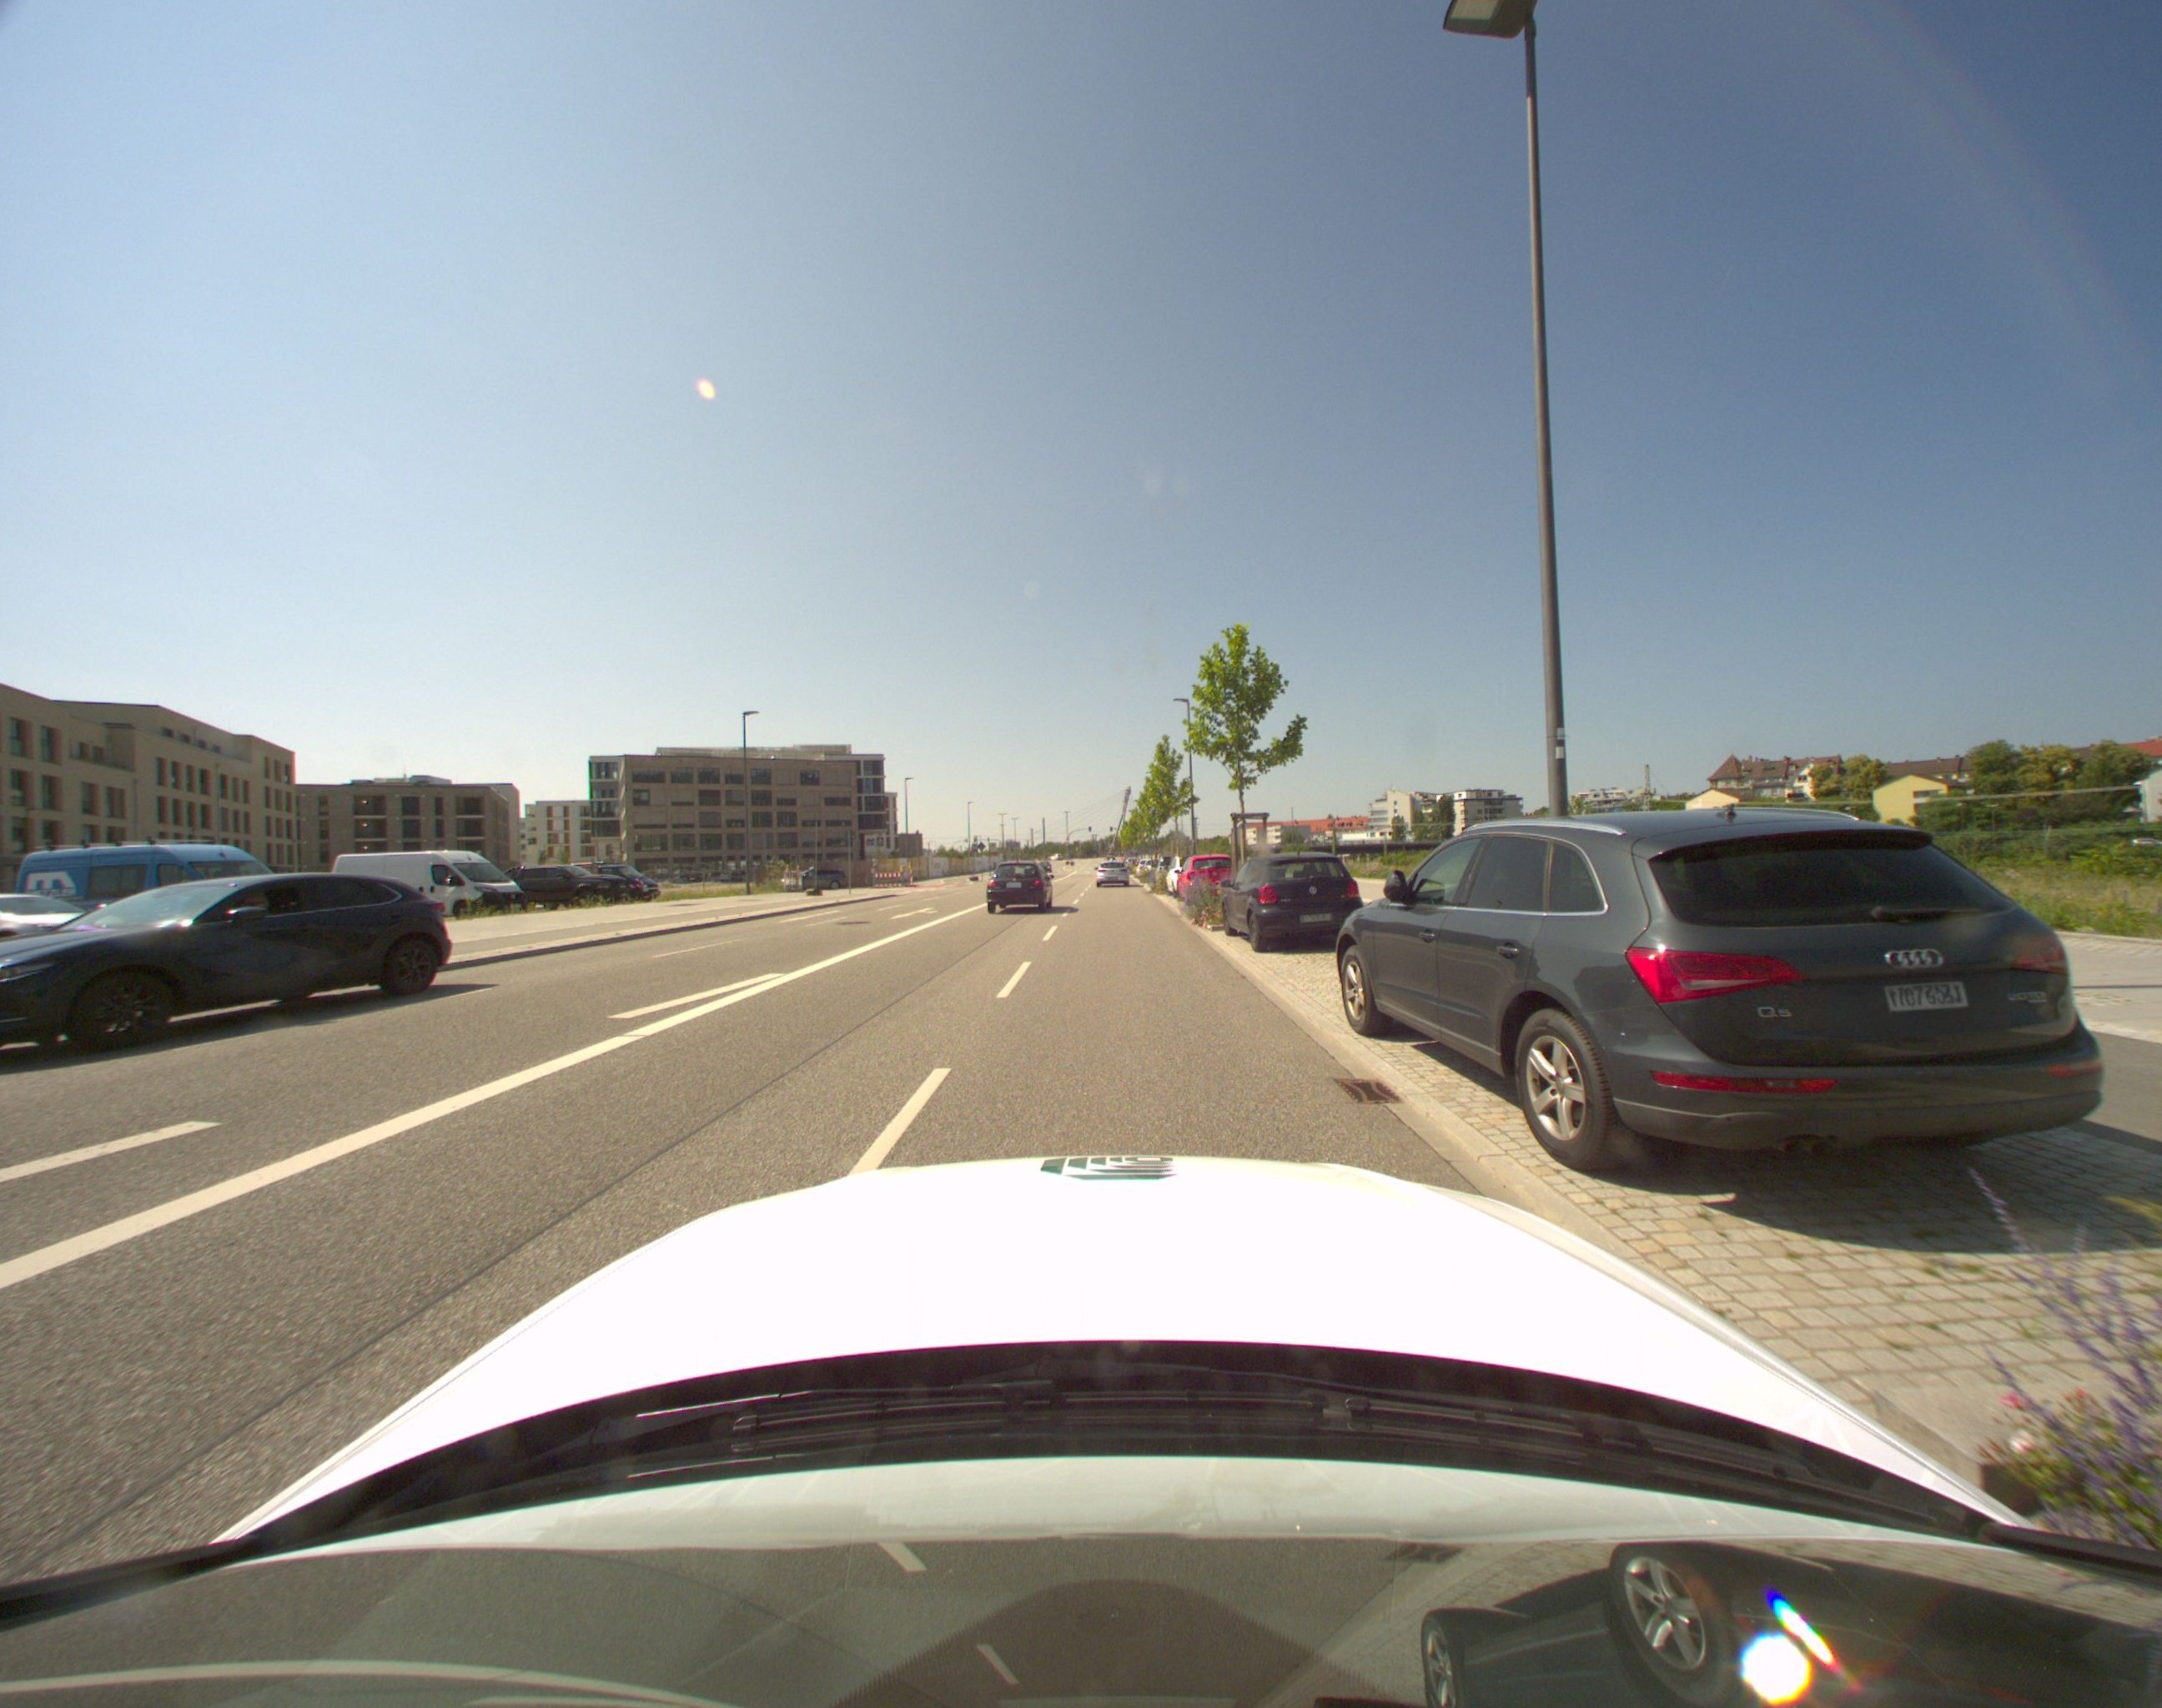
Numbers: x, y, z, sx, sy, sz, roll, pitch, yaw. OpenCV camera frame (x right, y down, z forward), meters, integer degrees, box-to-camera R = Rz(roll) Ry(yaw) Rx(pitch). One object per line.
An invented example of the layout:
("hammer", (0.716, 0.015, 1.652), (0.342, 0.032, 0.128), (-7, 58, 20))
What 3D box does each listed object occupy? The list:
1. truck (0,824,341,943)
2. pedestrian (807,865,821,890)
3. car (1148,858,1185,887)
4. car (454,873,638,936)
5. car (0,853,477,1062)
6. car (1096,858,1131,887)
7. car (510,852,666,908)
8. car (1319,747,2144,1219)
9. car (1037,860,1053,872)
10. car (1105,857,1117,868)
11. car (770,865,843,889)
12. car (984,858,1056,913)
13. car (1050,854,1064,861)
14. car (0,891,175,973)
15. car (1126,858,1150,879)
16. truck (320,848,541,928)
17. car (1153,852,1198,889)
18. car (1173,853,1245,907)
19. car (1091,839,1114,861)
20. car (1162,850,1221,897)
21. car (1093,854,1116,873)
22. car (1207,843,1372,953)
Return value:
("truck", (-22.604, 0.697, 20.372), (5.985, 2.543, 2.275), (-3, 0, 0))
("pedestrian", (-18.481, 1.614, 56.378), (0.680, 1.684, 0.758), (-1, -2, 12))
("car", (4.765, 0.990, 45.832), (1.899, 1.479, 4.163), (-2, 0, 5))
("car", (-21.955, 2.028, 33.622), (5.866, 2.165, 2.394), (-2, 0, -2))
("car", (-9.147, 0.843, 8.596), (1.893, 1.628, 4.395), (-3, 0, 6))
("car", (1.832, 0.982, 45.154), (1.770, 1.442, 4.004), (-2, 0, 3))
("car", (-22.051, 1.130, 36.638), (5.428, 2.173, 2.394), (-3, 0, -2))
("car", (2.983, 0.466, 5.080), (1.728, 1.608, 4.241), (-4, 0, 1))
("car", (-4.595, 1.550, 104.105), (1.697, 1.352, 4.458), (-3, -1, 2))
("car", (4.729, 1.297, 128.057), (1.771, 1.568, 4.003), (-2, 1, 2))
("car", (-18.330, 1.524, 54.420), (4.264, 1.318, 1.979), (-2, 0, -34))
("car", (-1.703, 0.865, 23.735), (1.613, 1.416, 3.729), (-2, 0, 2))
("car", (-6.009, 0.814, 202.774), (1.866, 1.649, 3.961), (0, 0, -30))
("car", (-22.847, 1.638, 16.890), (5.633, 1.474, 2.106), (-2, 0, -1))
("car", (4.319, 1.149, 62.382), (1.739, 1.509, 4.004), (-2, -2, 3))
("truck", (-21.920, 1.121, 27.643), (5.548, 2.362, 2.275), (-3, 0, 0))
("car", (4.367, 0.733, 38.111), (1.899, 1.577, 4.163), (-2, 0, 5))
("car", (3.854, 0.736, 25.158), (1.711, 1.451, 4.002), (-1, 1, 2))
("car", (1.833, -0.330, 69.537), (1.785, 1.750, 4.004), (0, -1, 4))
("car", (3.988, 0.730, 29.990), (1.711, 1.524, 3.643), (-4, -2, 2))
("car", (1.959, 0.823, 67.972), (1.770, 1.569, 4.003), (-1, -1, 3))
("car", (3.241, 0.620, 13.491), (1.627, 1.429, 4.241), (-4, 0, 1))
